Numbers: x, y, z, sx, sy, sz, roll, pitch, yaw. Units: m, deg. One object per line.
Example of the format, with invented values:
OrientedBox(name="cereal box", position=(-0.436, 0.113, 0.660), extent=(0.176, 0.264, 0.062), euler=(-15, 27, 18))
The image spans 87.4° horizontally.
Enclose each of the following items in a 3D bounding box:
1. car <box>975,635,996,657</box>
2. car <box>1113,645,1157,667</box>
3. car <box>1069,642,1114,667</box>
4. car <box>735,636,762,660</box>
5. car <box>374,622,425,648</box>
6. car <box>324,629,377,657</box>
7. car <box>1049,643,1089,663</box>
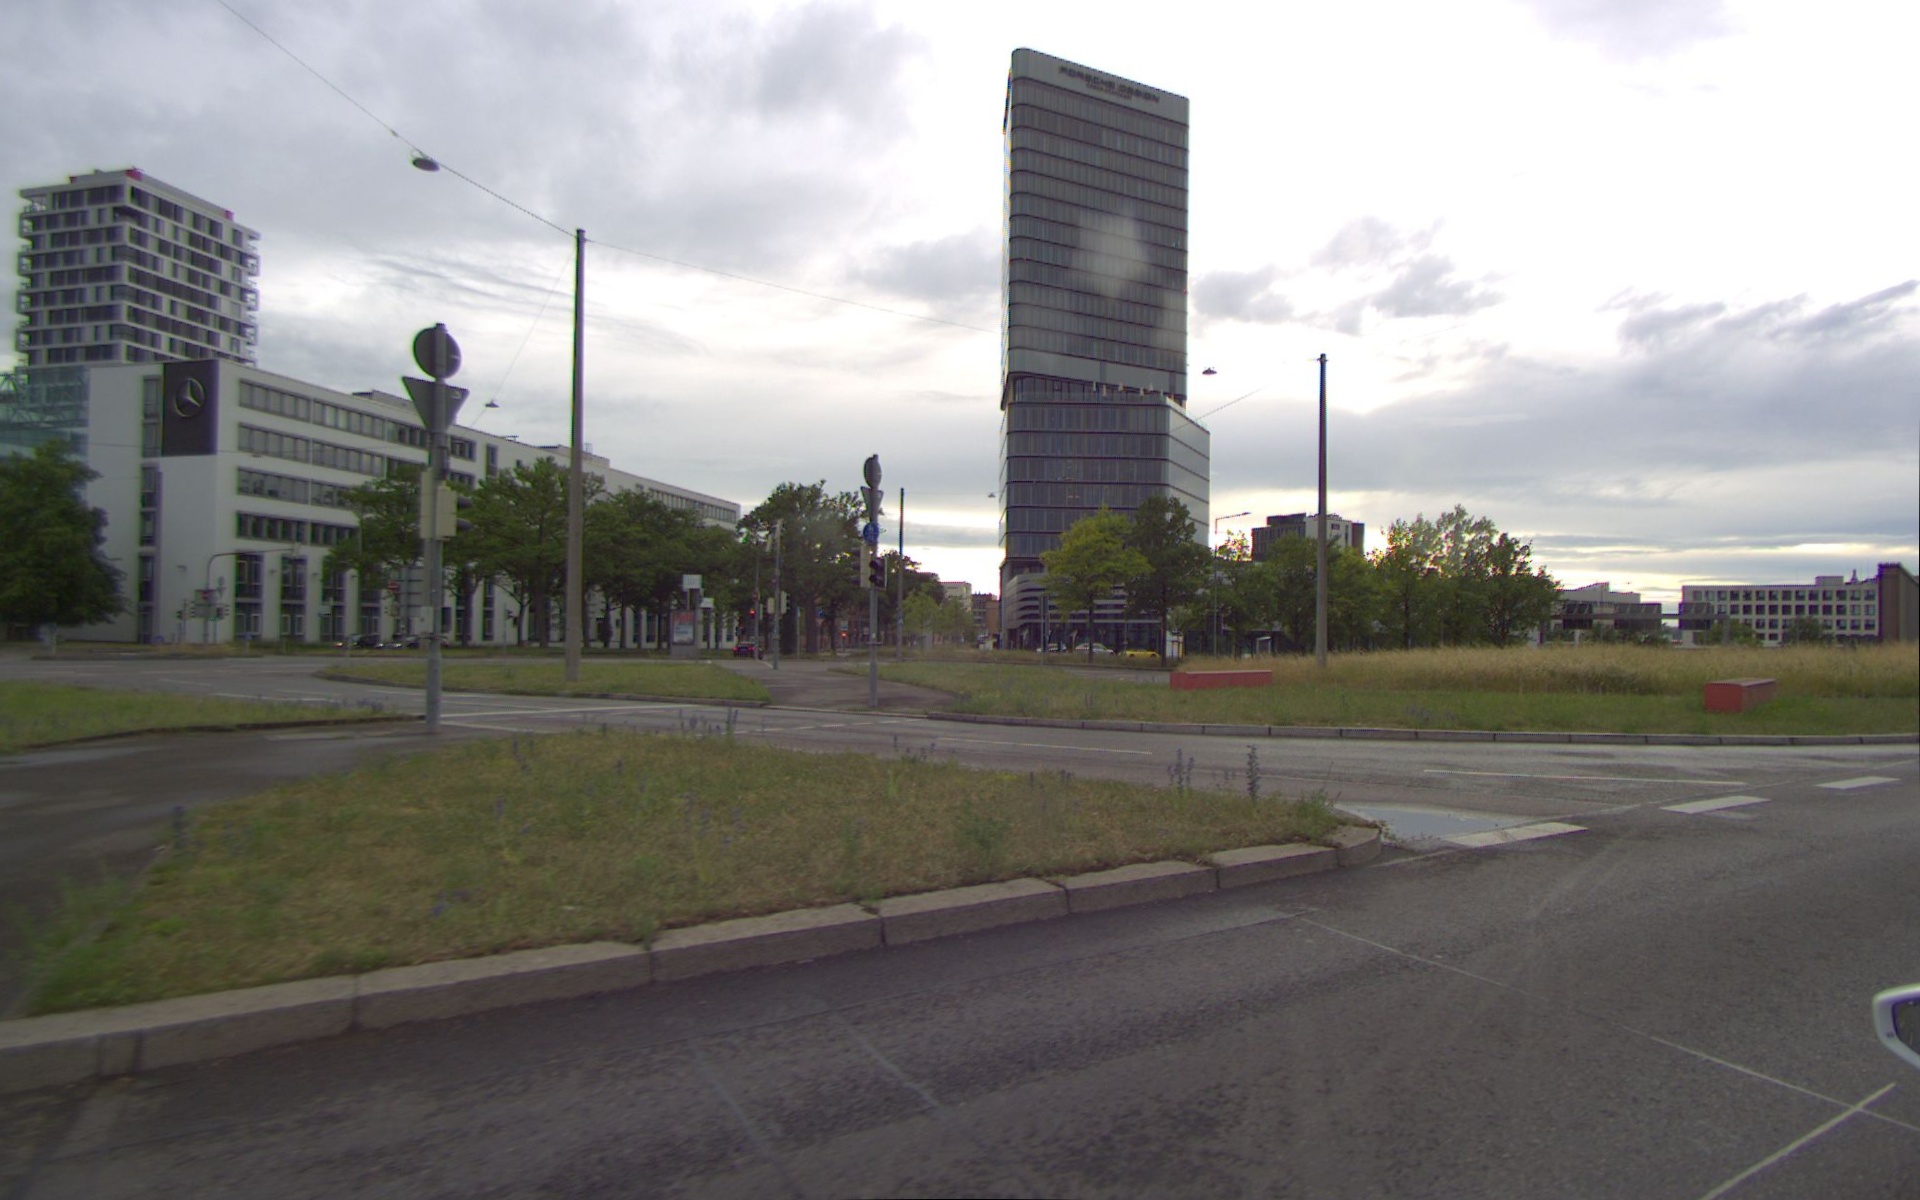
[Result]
OrientedBox(name="car", position=(2.554, 4.559, 99.996), extent=(1.960, 1.873, 4.001), euler=(2, 0, 2))
OrientedBox(name="car", position=(18.101, 5.750, 103.854), extent=(3.932, 2.040, 1.995), euler=(2, 0, -13))
OrientedBox(name="car", position=(11.947, 4.925, 91.107), extent=(3.974, 2.040, 1.974), euler=(2, 0, -44))
OrientedBox(name="car", position=(-16.938, 3.827, 80.593), extent=(1.865, 1.698, 3.708), euler=(2, 0, -9))
OrientedBox(name="car", position=(-39.521, 2.448, 70.895), extent=(1.865, 1.698, 3.708), euler=(2, 0, -9))
OrientedBox(name="car", position=(-42.837, 3.015, 70.659), extent=(1.865, 1.698, 3.708), euler=(2, 0, -9))
OrientedBox(name="car", position=(12.124, 5.937, 112.082), extent=(3.938, 2.040, 1.992), euler=(2, 0, -19))
